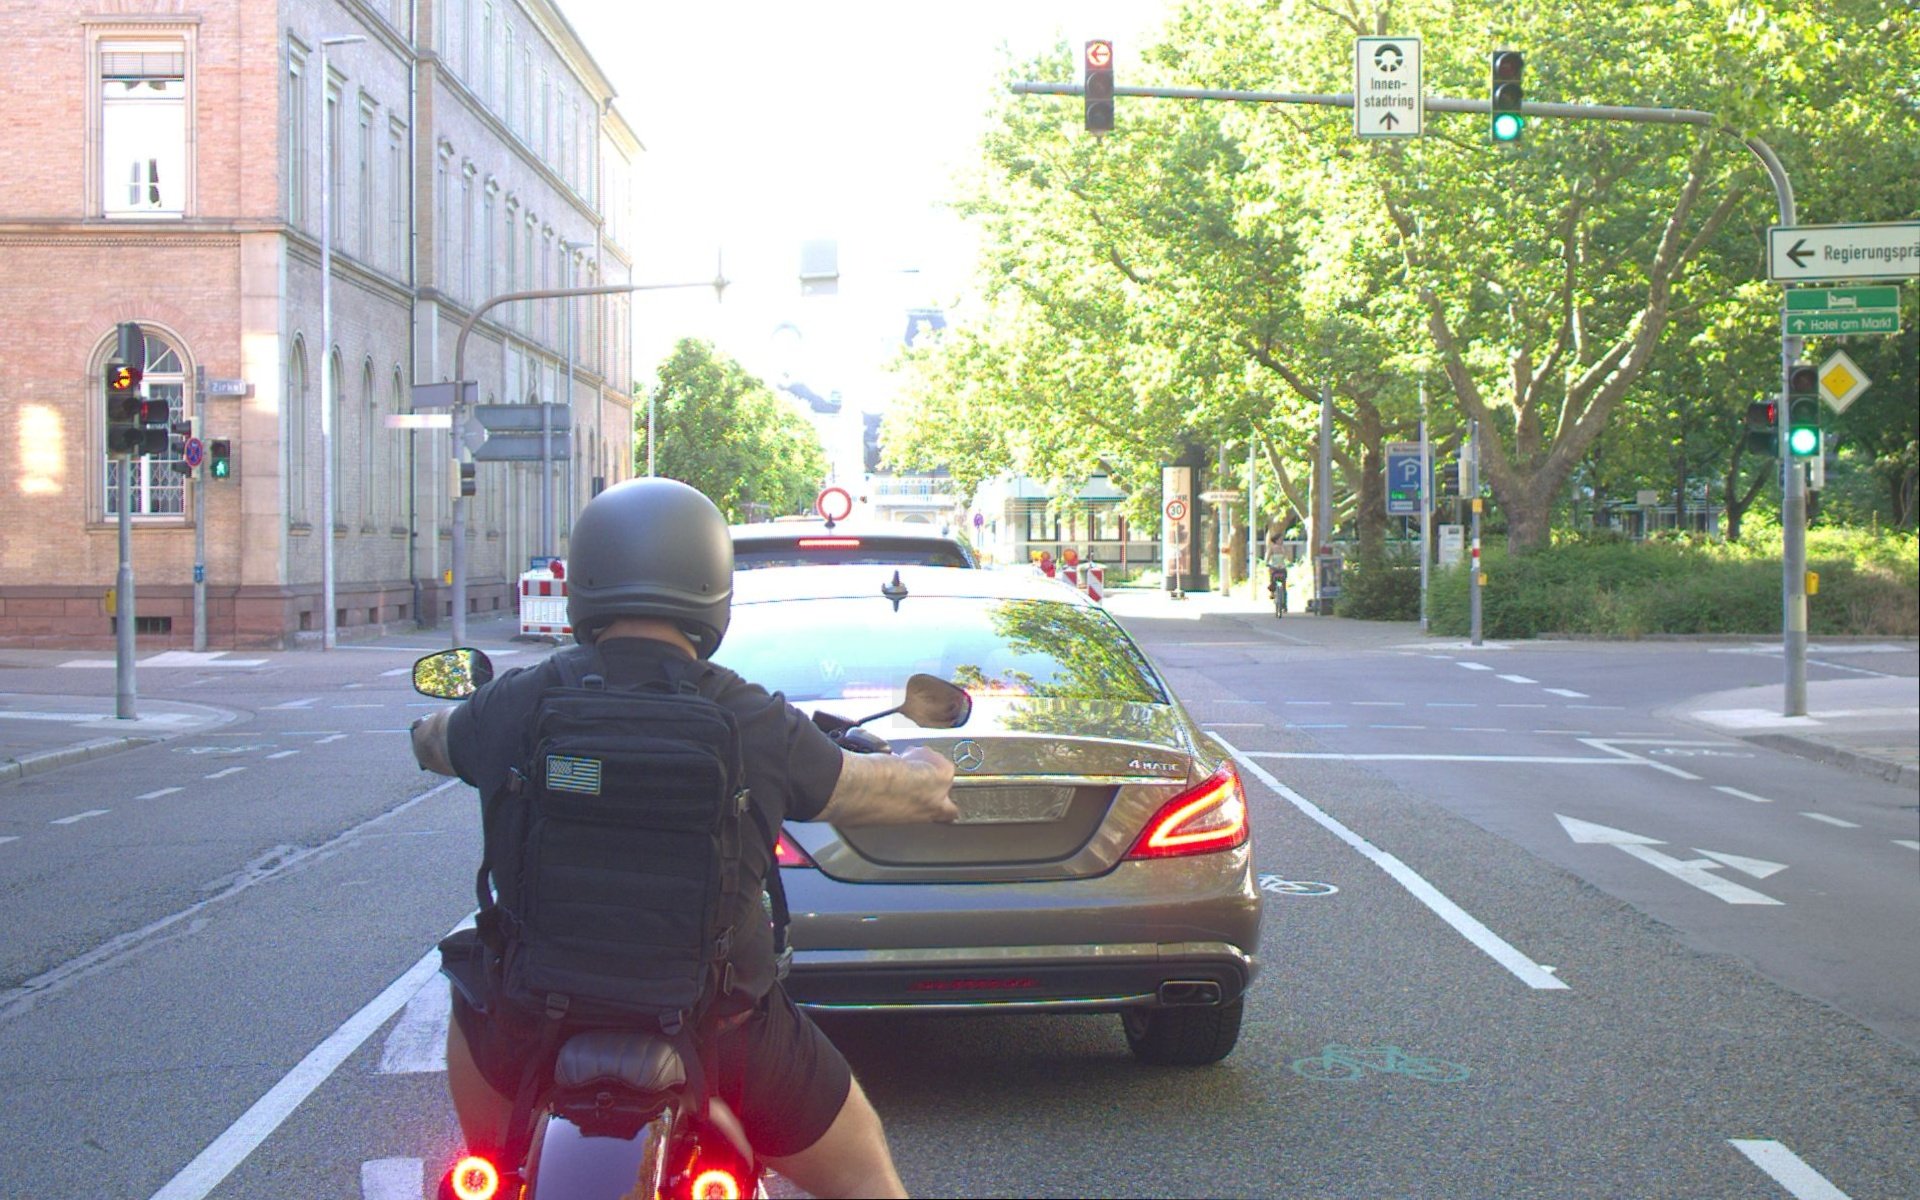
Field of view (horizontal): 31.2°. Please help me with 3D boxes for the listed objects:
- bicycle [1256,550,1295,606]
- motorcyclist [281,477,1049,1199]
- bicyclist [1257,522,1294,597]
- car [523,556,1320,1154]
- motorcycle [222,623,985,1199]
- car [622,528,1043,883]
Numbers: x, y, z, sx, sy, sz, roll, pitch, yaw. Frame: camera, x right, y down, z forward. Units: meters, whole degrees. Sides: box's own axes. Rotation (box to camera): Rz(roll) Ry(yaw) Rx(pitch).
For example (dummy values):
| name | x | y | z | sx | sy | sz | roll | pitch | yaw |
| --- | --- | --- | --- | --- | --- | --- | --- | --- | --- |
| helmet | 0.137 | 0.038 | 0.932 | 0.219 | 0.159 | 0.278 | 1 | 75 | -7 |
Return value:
| name | x | y | z | sx | sy | sz | roll | pitch | yaw |
| --- | --- | --- | --- | --- | --- | --- | --- | --- | --- |
| bicycle | 6.703 | -0.466 | 73.118 | 0.716 | 1.168 | 2.176 | 1 | 1 | 3 |
| motorcyclist | -0.422 | 0.619 | 5.270 | 1.061 | 1.577 | 0.908 | 1 | 0 | -1 |
| bicyclist | 6.713 | -0.870 | 73.159 | 0.716 | 1.577 | 0.936 | 1 | 0 | 2 |
| car | -0.348 | 0.595 | 10.657 | 1.901 | 1.436 | 4.290 | 0 | 1 | -8 |
| motorcycle | -0.472 | 0.738 | 5.541 | 0.962 | 1.352 | 2.320 | 1 | 1 | -1 |
| car | -0.654 | 0.418 | 16.772 | 1.813 | 1.530 | 3.849 | 0 | 1 | -3 |
